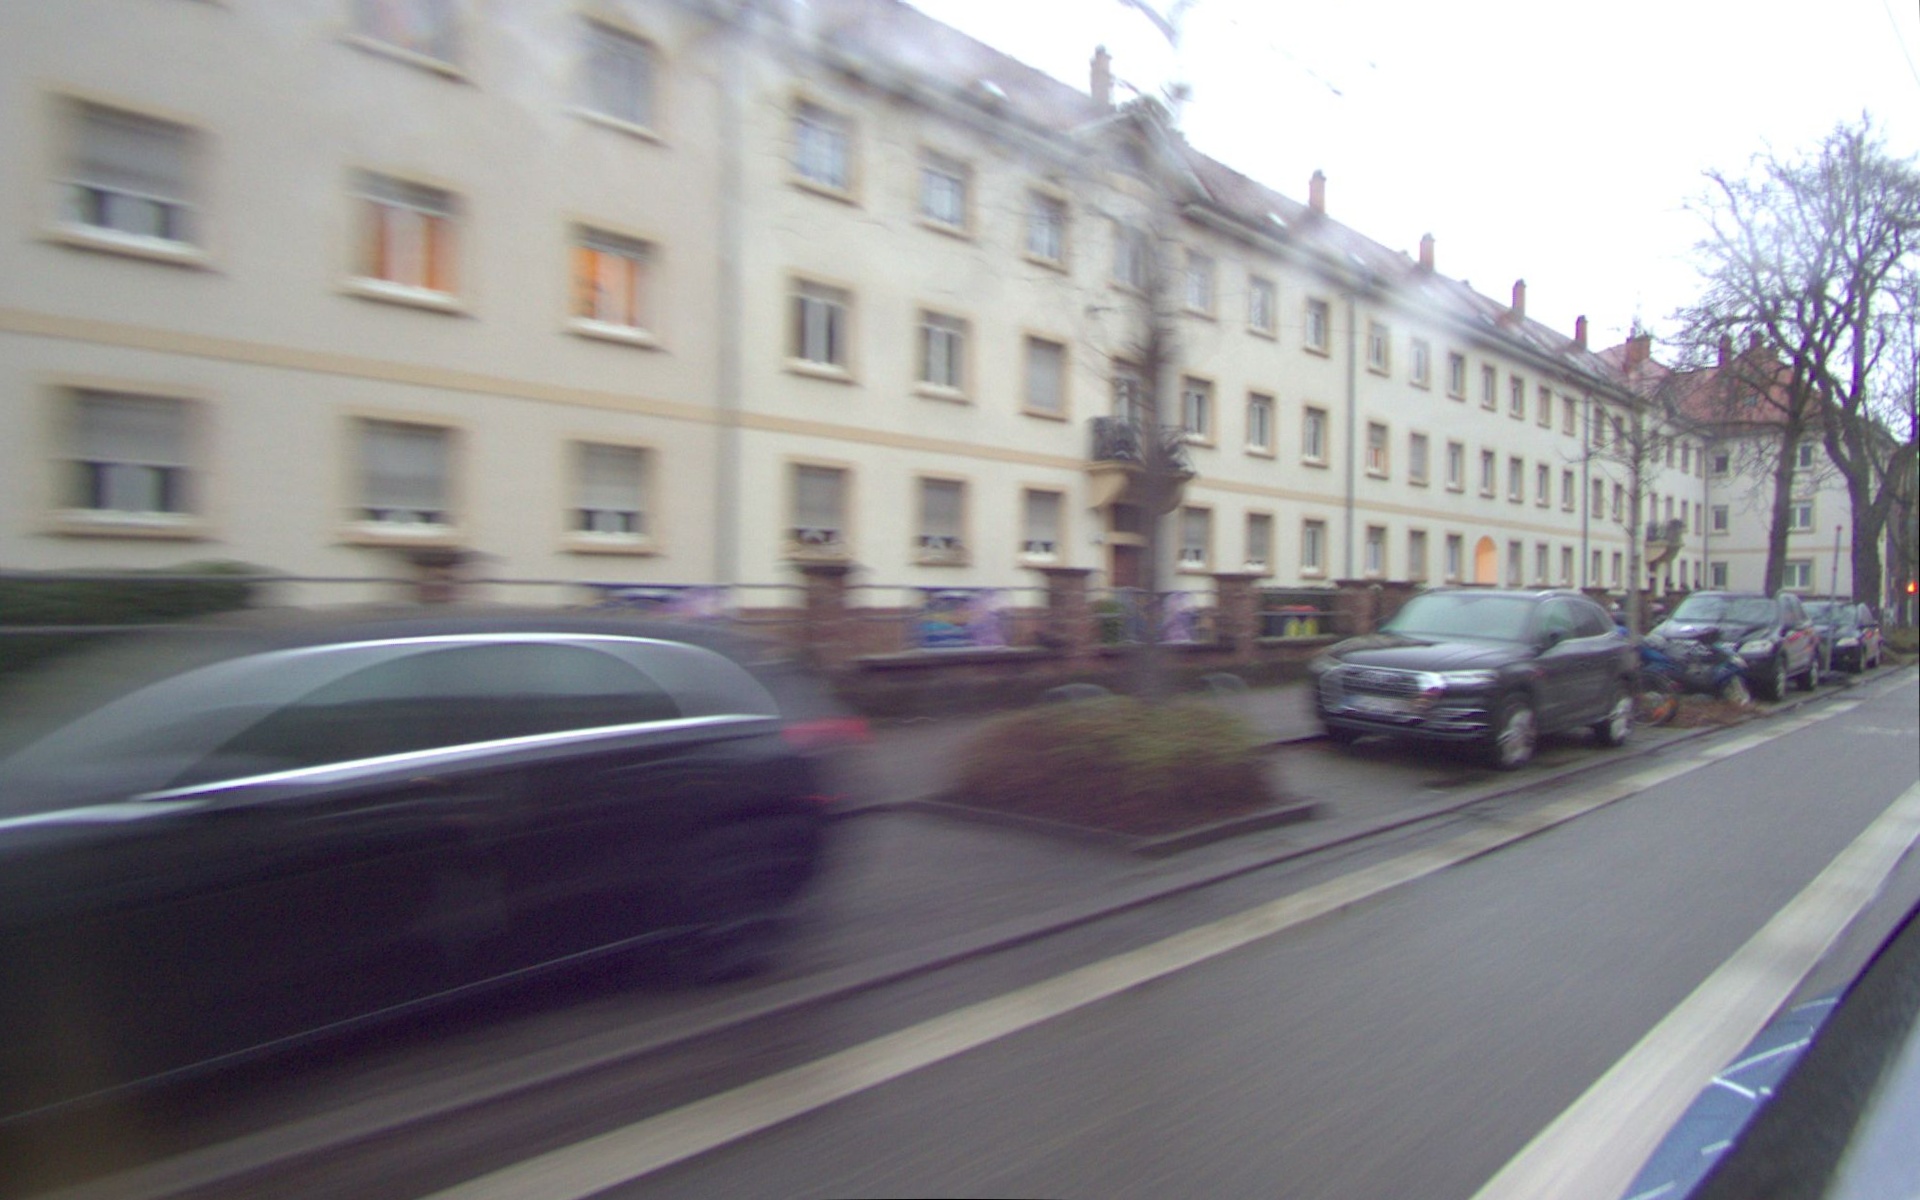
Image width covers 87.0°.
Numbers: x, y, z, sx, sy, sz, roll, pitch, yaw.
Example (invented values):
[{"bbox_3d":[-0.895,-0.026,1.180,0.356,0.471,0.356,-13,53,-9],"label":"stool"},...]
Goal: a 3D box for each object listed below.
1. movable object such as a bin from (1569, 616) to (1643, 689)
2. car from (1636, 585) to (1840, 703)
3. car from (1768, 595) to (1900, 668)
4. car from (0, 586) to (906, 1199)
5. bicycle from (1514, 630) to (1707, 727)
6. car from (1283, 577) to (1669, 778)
[{"bbox_3d":[9.638,0.772,15.108,0.752,0.965,0.560,9,6,44],"label":"movable object such as a bin"},{"bbox_3d":[13.548,0.643,17.517,4.817,1.749,1.909,0,1,-42],"label":"car"},{"bbox_3d":[20.320,0.667,23.481,3.918,1.528,1.788,0,1,-41],"label":"car"},{"bbox_3d":[-2.396,0.700,3.539,1.879,1.437,4.275,2,2,44],"label":"car"},{"bbox_3d":[8.367,0.971,13.127,0.455,0.927,2.022,1,5,-34],"label":"bicycle"},{"bbox_3d":[5.445,0.615,10.434,4.479,1.630,1.910,0,1,-39],"label":"car"}]
